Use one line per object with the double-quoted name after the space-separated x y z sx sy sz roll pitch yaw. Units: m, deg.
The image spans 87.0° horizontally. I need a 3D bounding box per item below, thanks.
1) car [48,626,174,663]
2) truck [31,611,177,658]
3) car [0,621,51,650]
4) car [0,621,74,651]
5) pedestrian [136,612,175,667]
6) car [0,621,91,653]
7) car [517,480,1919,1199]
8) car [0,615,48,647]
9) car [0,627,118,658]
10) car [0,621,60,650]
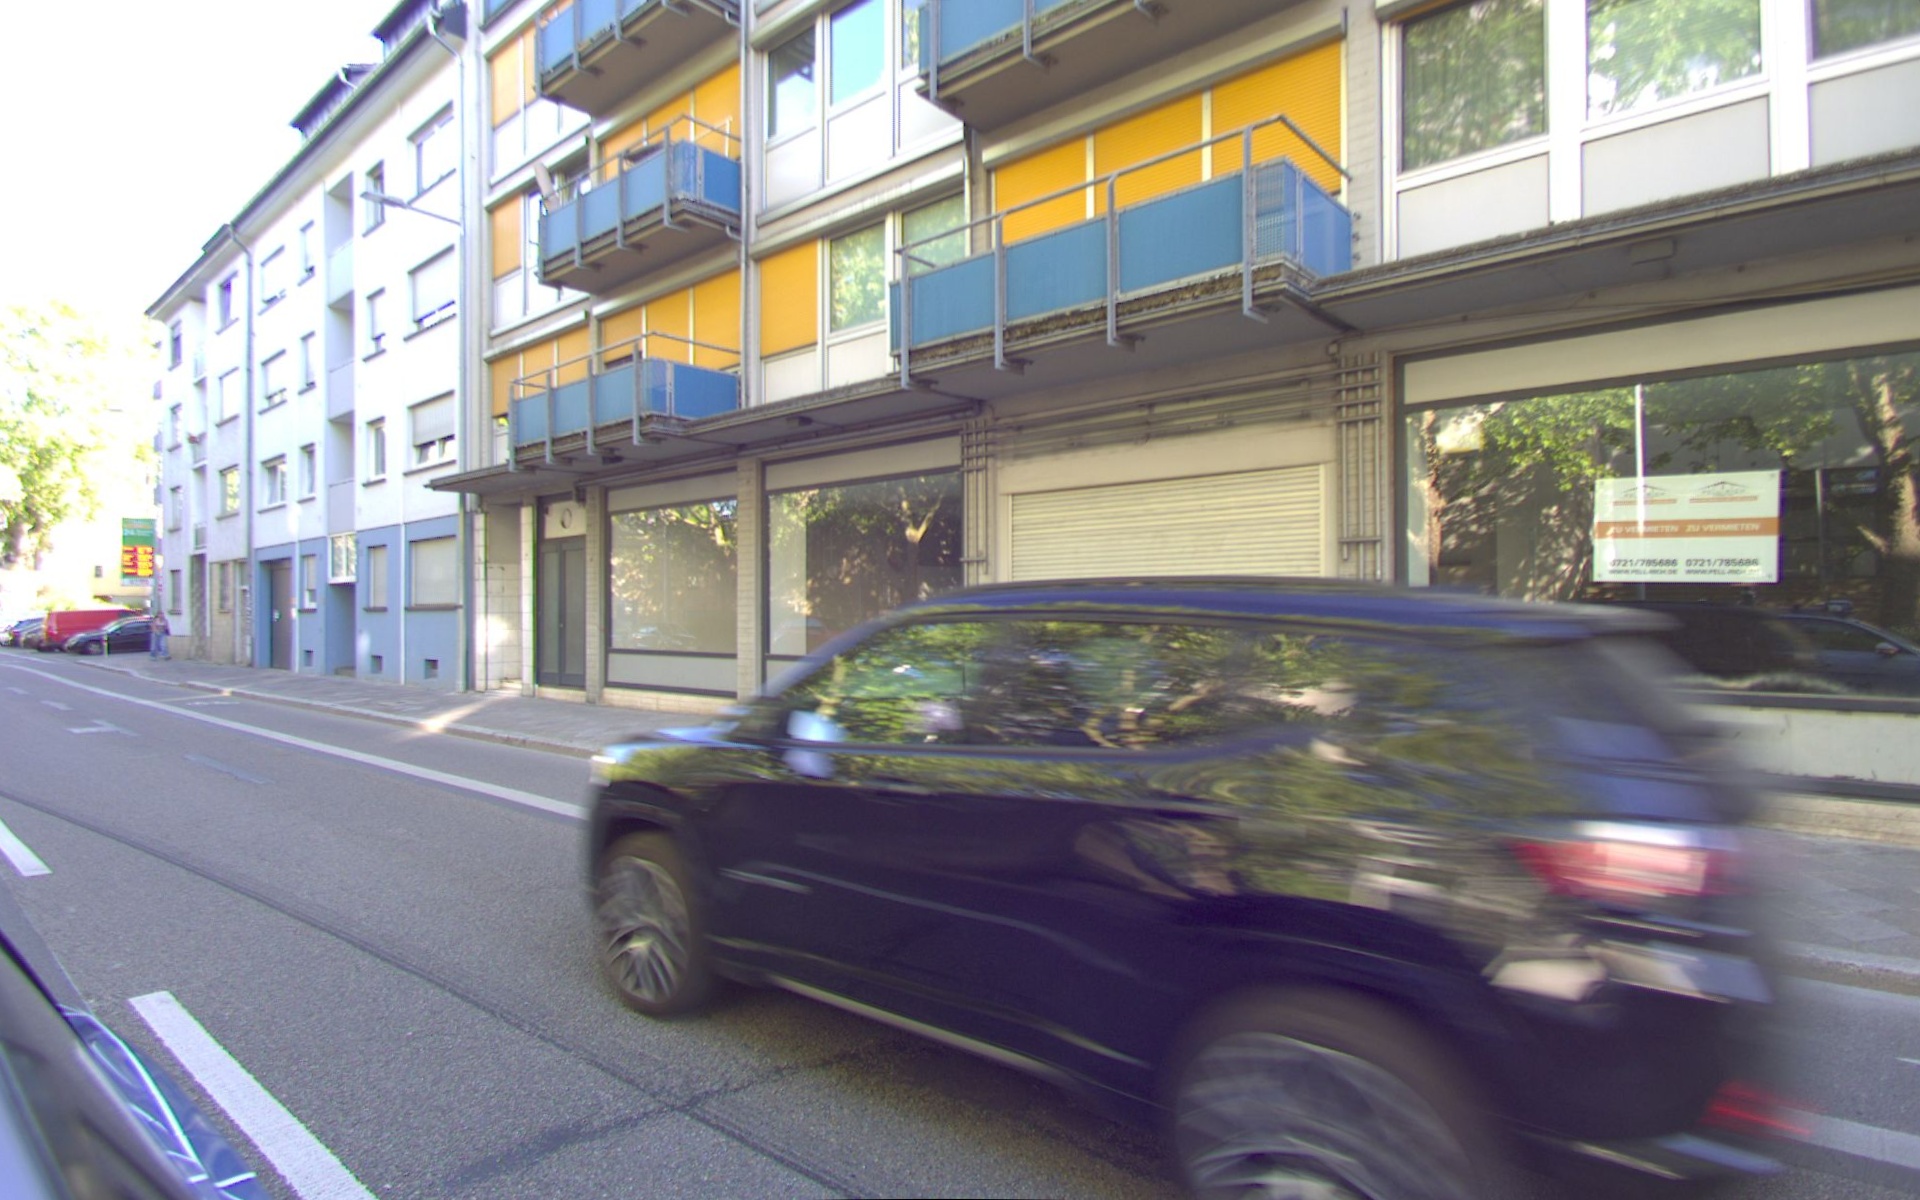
-36.790 1.888 43.903 1.780 1.404 3.947 -1 0 39 "car"
-40.347 1.582 47.821 1.998 2.036 5.024 -1 0 40 "truck"
-56.884 2.121 60.378 1.740 1.600 3.685 -1 0 35 "car"
-52.880 2.036 57.457 1.656 1.599 3.615 -1 0 35 "car"
-26.721 1.286 33.608 0.741 1.785 0.884 -1 0 41 "pedestrian"
-50.819 2.019 55.953 1.699 1.640 3.952 -1 0 35 "car"
0.369 0.633 3.528 4.383 1.582 1.830 -1 0 41 "car"
-59.756 1.967 63.820 1.693 1.953 3.224 -1 0 43 "car"
-43.222 2.008 48.602 1.904 1.282 3.983 -1 0 39 "car"
-55.064 2.081 58.986 1.715 1.594 3.660 -1 0 35 "car"
